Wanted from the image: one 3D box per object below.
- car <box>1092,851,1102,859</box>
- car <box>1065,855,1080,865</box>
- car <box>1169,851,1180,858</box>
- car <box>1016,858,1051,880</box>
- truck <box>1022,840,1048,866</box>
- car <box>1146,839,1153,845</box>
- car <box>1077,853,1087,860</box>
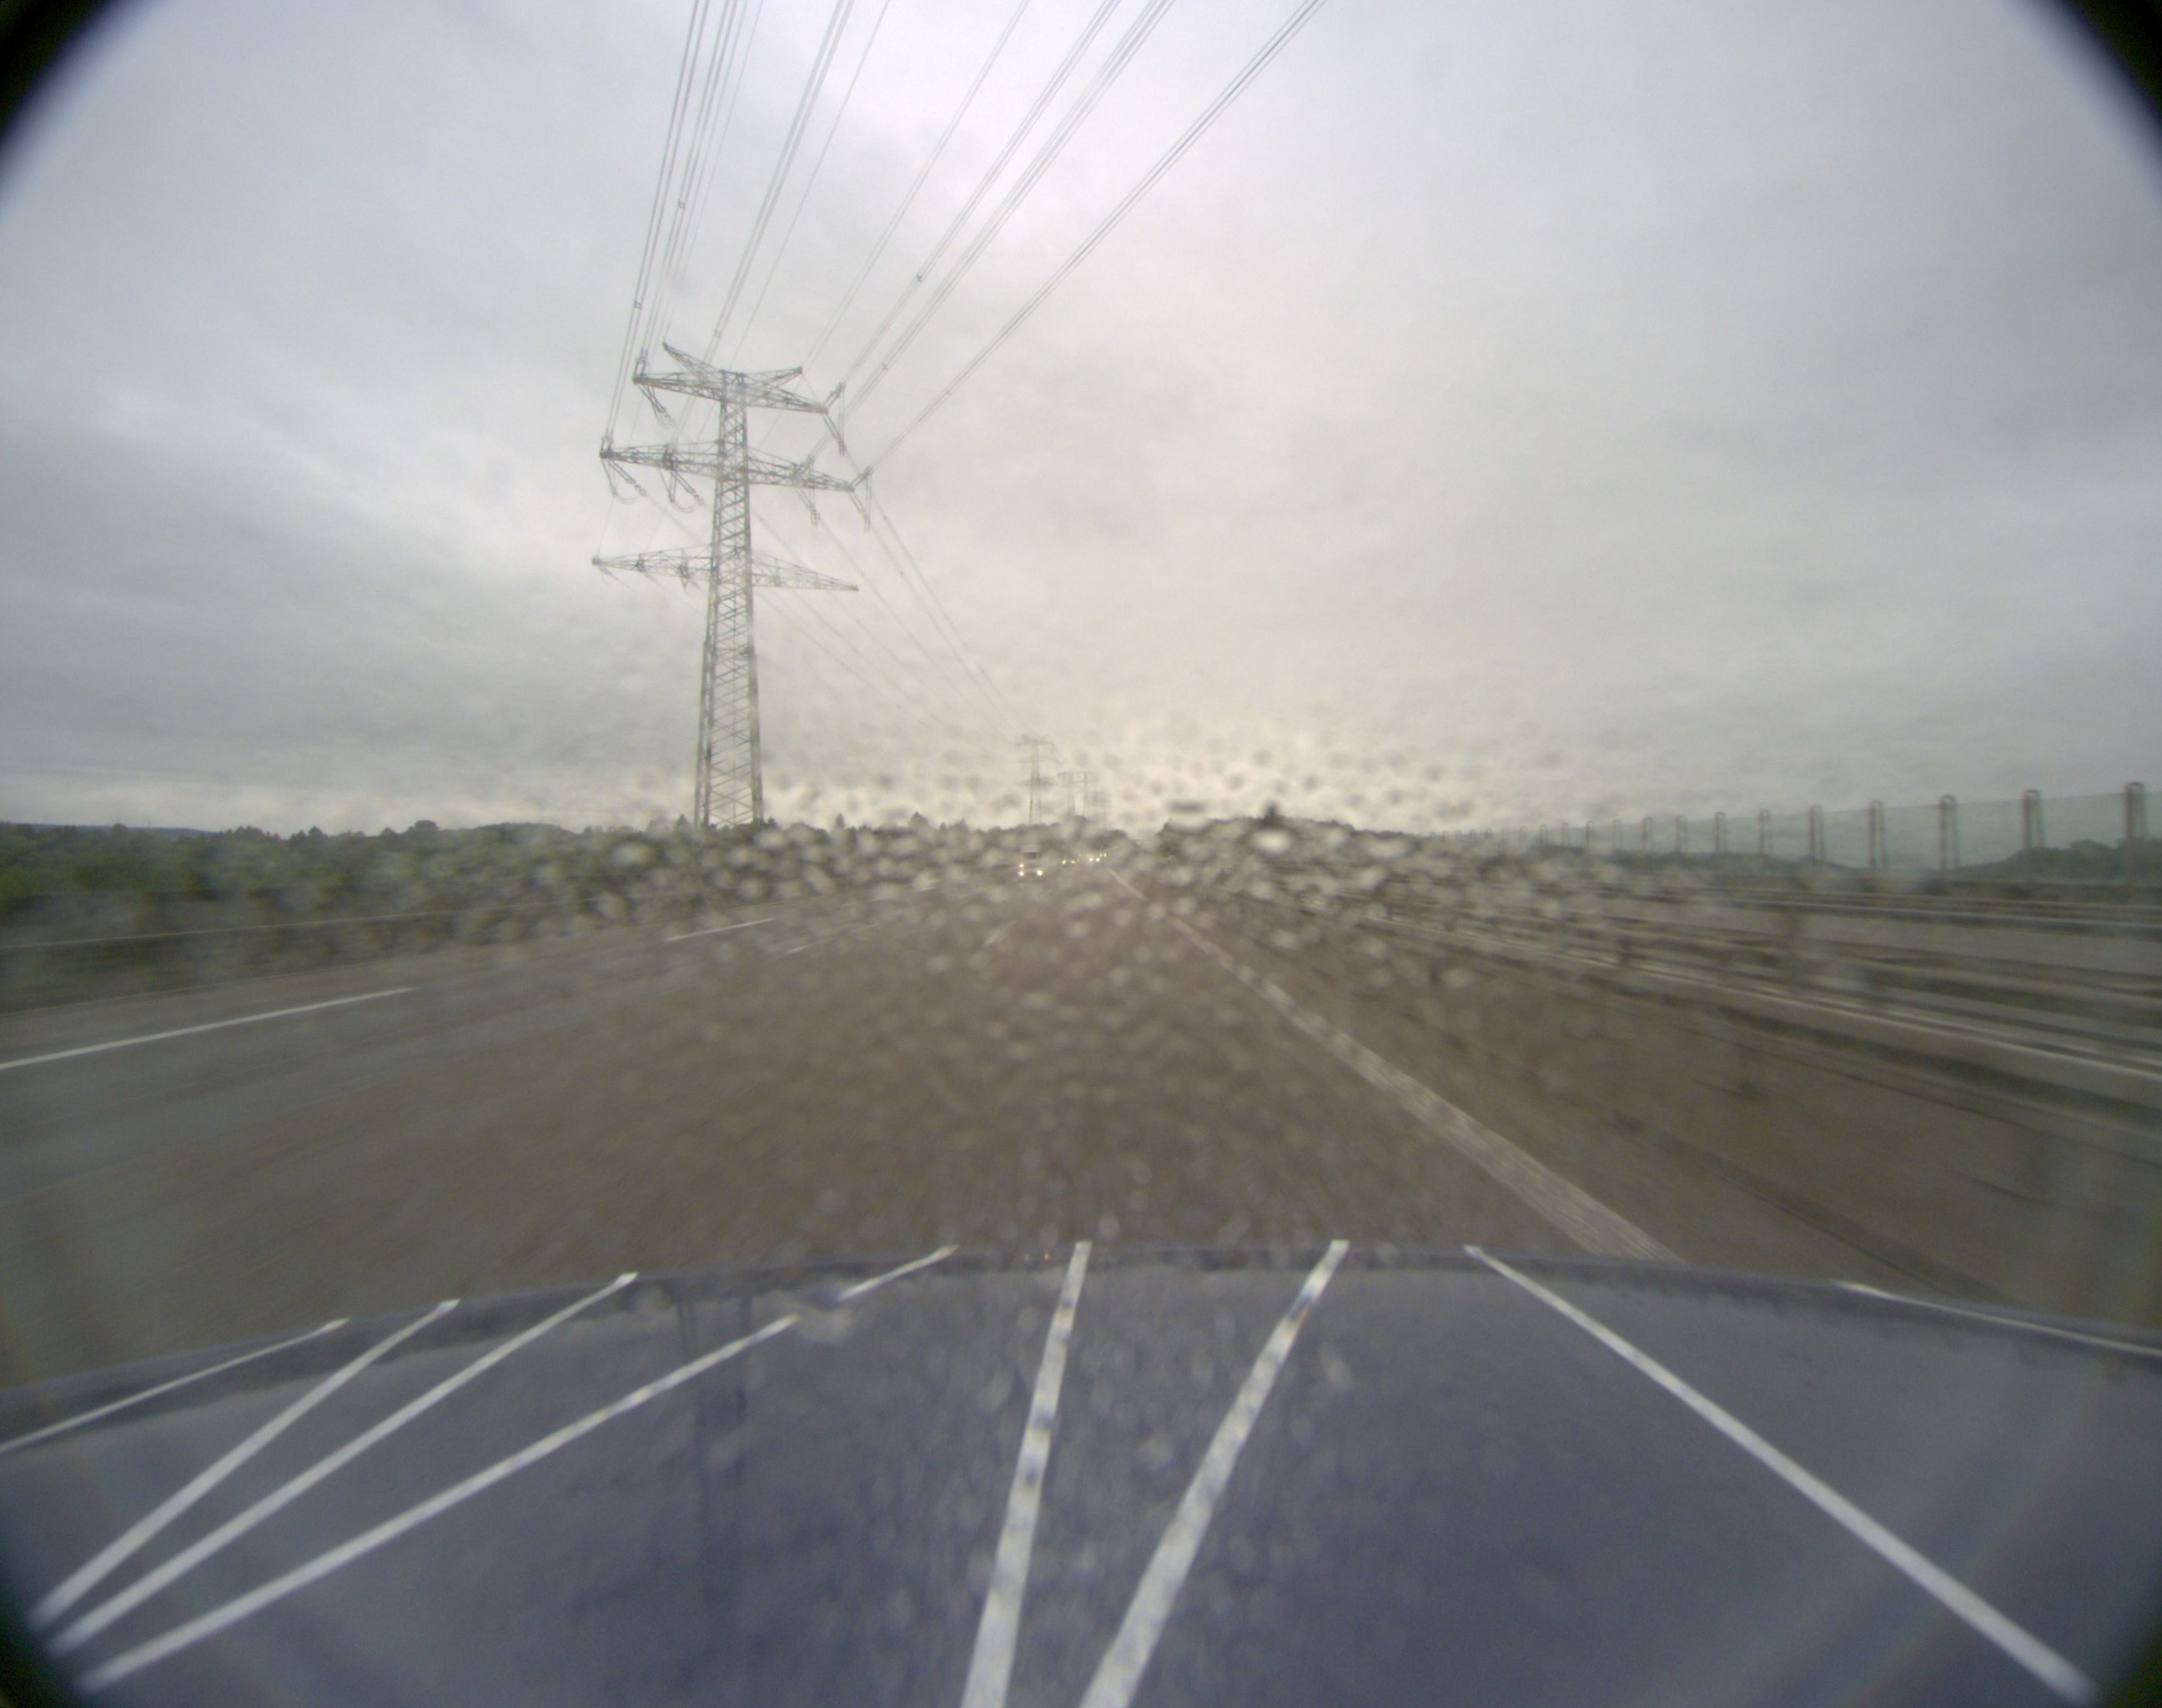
[{"bbox_3d":[3.112,0.240,147.246,1.998,1.418,4.000,-2,1,2],"label":"car"},{"bbox_3d":[-1.252,0.852,114.514,1.998,1.418,4.000,-2,1,2],"label":"car"},{"bbox_3d":[20.846,0.070,170.277,1.998,1.620,4.713,0,0,1],"label":"car"},{"bbox_3d":[-3.304,1.014,53.495,1.998,1.418,4.000,-2,1,2],"label":"car"},{"bbox_3d":[-6.142,-0.171,102.614,2.649,3.325,6.931,-2,1,2],"label":"truck"},{"bbox_3d":[22.004,-3.827,244.462,1.998,1.980,4.440,0,0,1],"label":"car"},{"bbox_3d":[0.190,0.453,158.141,1.856,1.418,4.000,-2,1,2],"label":"car"}]
